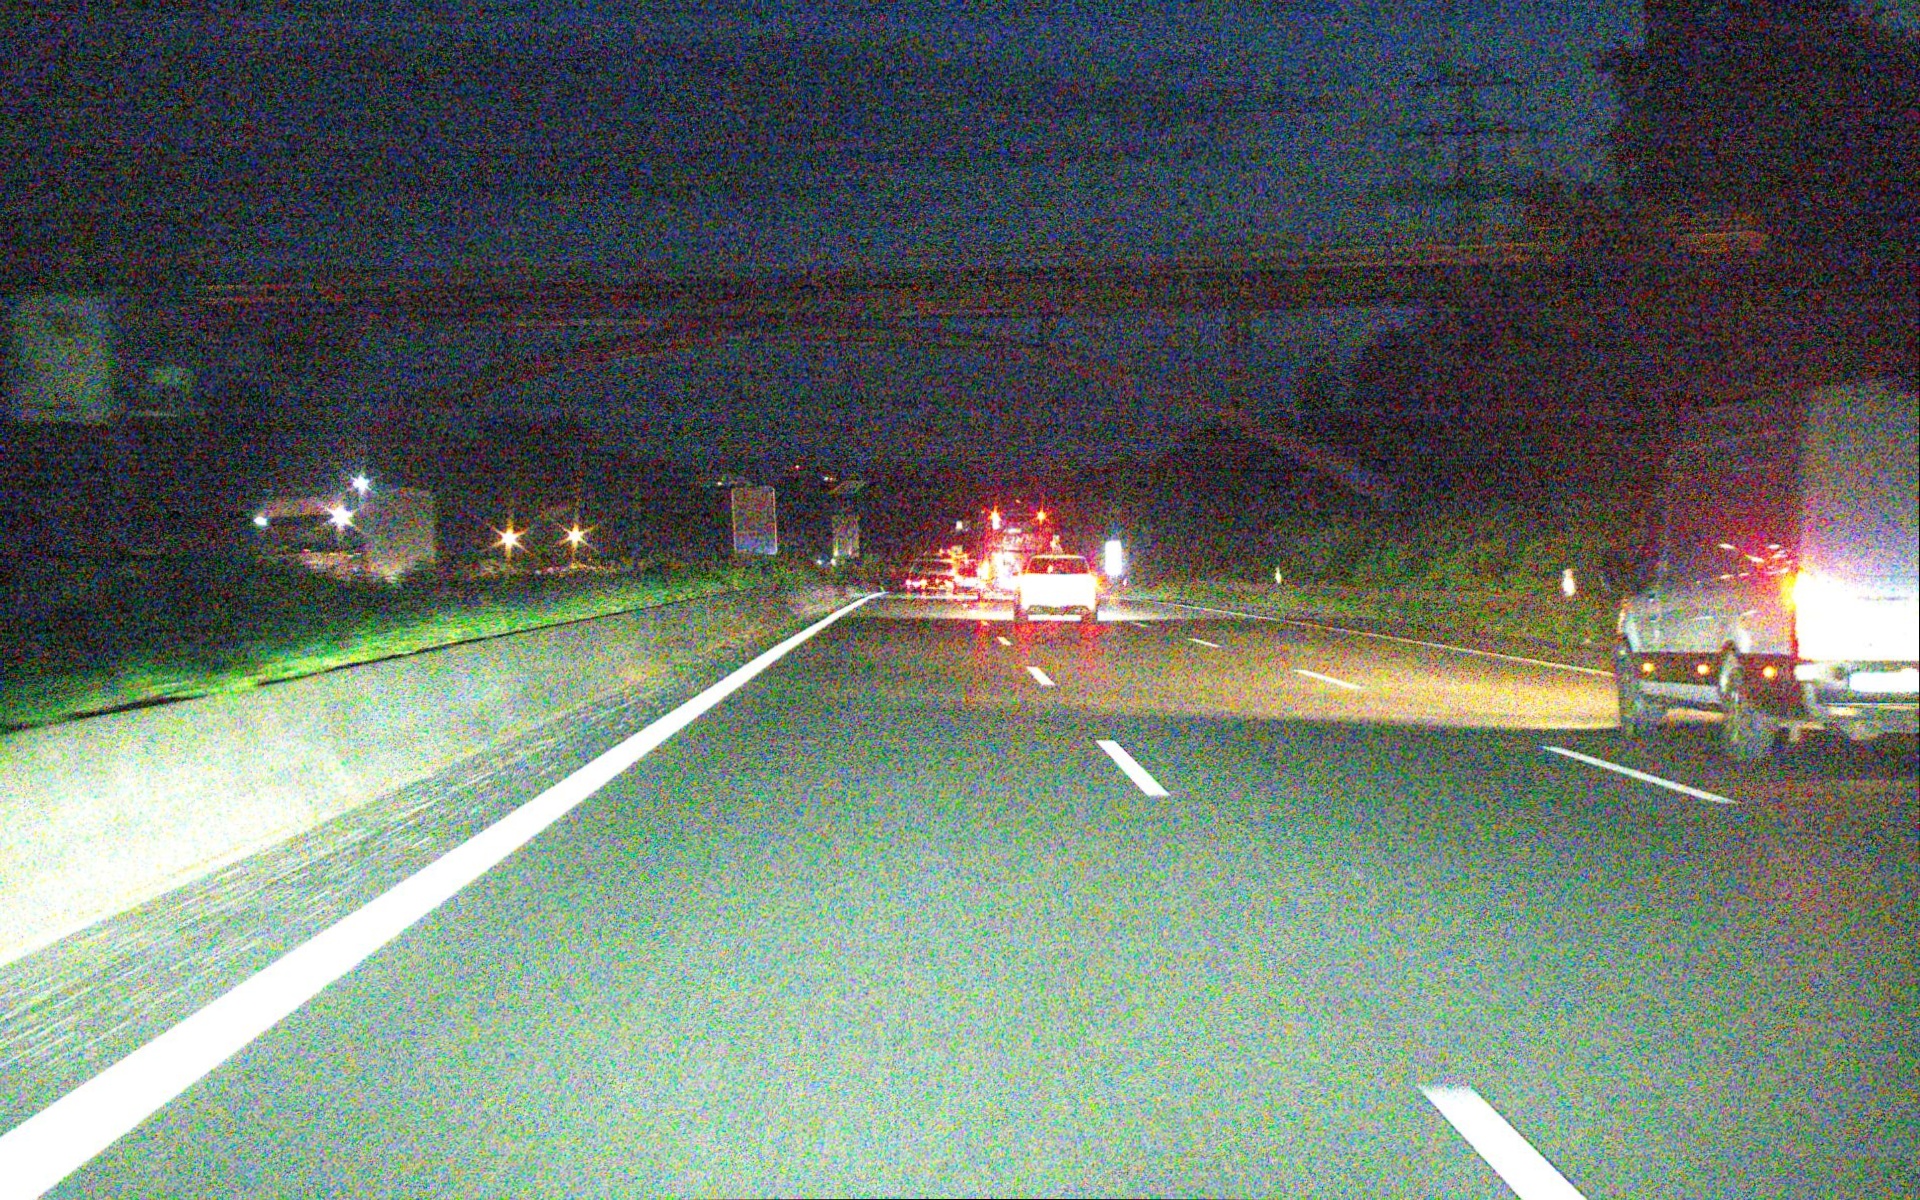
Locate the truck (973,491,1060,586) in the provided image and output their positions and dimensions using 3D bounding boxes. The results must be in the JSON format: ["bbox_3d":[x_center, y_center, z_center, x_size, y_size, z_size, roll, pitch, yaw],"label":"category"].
[{"bbox_3d":[2.045,-2.363,127.987,3.044,3.313,10.143,1,2,0],"label":"truck"}]

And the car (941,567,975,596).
[{"bbox_3d":[-0.112,-1.058,192.253,1.821,1.461,4.248,1,2,0],"label":"car"}]

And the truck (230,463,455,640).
[{"bbox_3d":[-17.100,-1.567,96.778,3.246,4.473,17.440,1,2,0],"label":"truck"}]

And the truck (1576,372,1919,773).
[{"bbox_3d":[6.616,-0.180,26.803,2.076,2.682,7.308,1,0,-2],"label":"truck"}]

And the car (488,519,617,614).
[{"bbox_3d":[-9.531,-0.838,80.970,2.208,2.006,6.945,1,2,0],"label":"car"}]

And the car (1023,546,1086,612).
[{"bbox_3d":[2.149,-0.505,78.895,1.346,1.382,3.502,1,2,0],"label":"car"}]
